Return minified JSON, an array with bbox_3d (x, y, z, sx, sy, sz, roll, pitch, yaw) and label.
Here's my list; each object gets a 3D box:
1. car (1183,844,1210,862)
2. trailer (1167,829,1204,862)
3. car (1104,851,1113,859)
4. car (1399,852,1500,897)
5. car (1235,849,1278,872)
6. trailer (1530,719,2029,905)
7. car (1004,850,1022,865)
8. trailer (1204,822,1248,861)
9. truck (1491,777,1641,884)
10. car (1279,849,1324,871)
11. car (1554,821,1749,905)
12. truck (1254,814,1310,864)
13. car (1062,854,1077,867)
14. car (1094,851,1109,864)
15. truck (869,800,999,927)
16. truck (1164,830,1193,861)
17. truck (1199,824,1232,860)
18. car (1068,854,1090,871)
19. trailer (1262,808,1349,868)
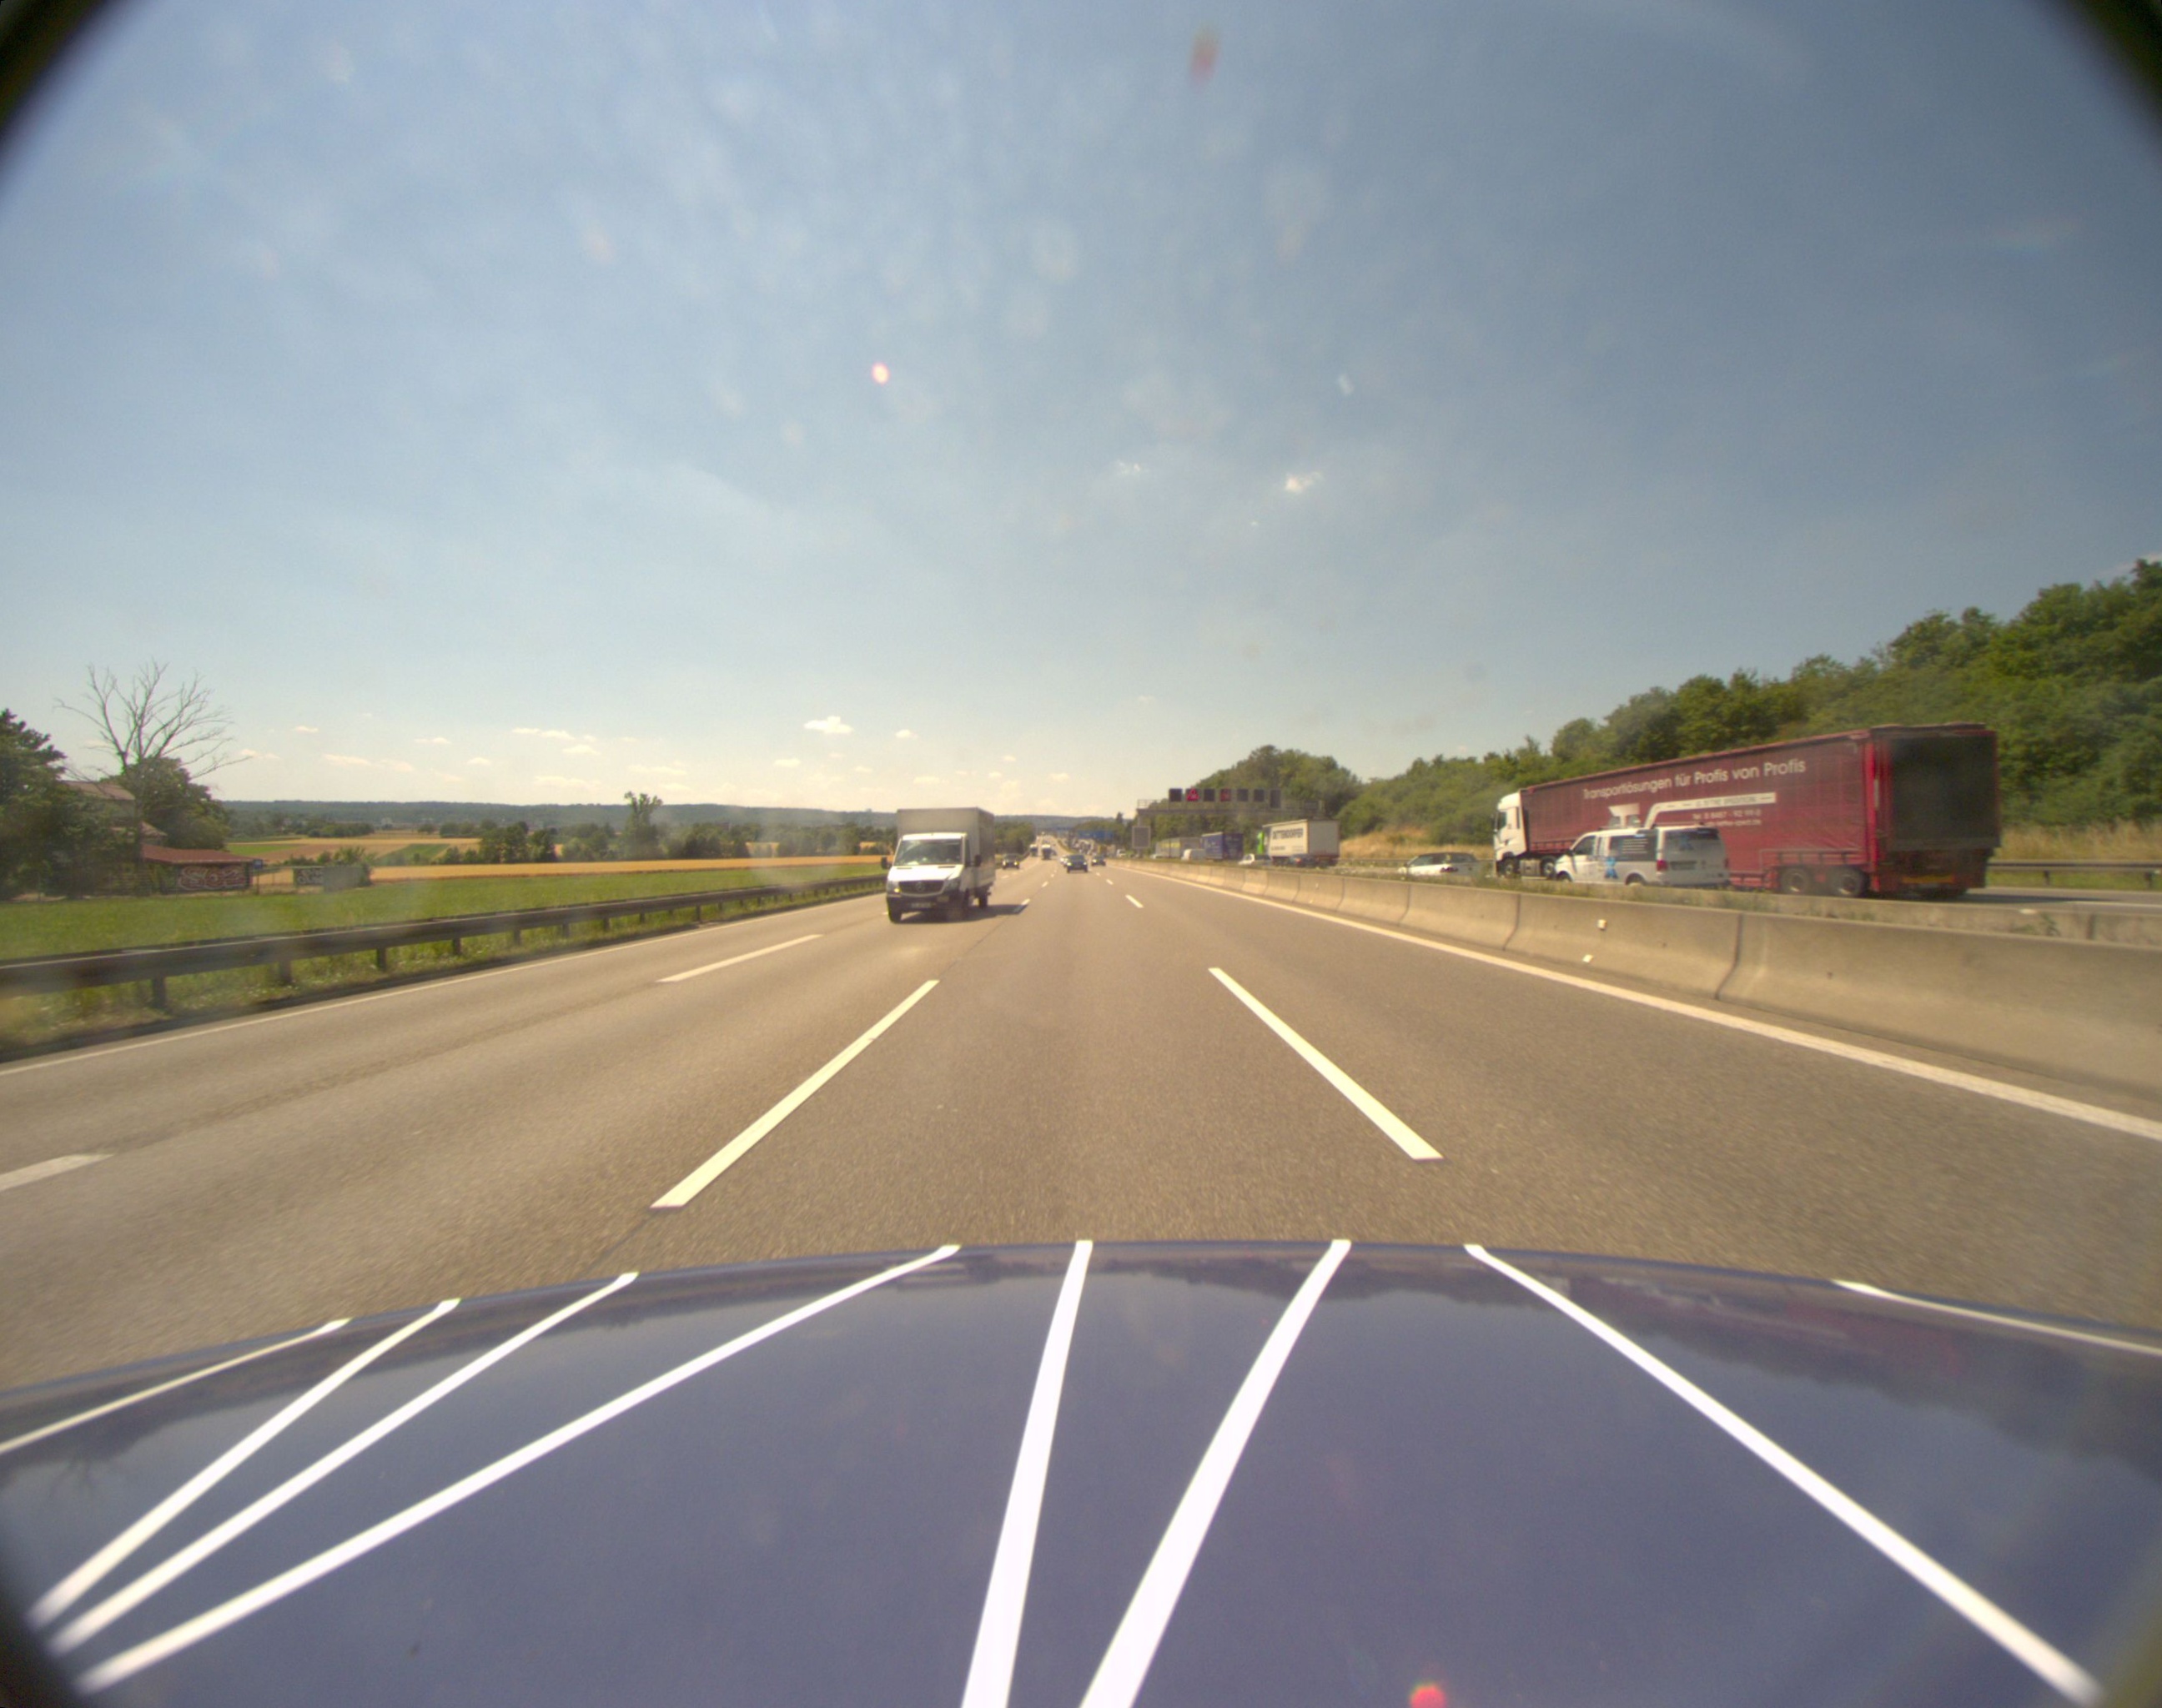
[{"bbox_3d":[11.321,-0.093,74.916,1.911,1.662,3.999,-1,0,-2],"label":"car"},{"bbox_3d":[14.087,-1.205,103.550,3.132,4.143,10.196,-2,1,-2],"label":"trailer"},{"bbox_3d":[7.436,0.284,205.147,1.999,2.002,3.998,-2,1,-3],"label":"car"},{"bbox_3d":[11.942,0.611,24.853,1.616,1.315,3.424,-1,0,0],"label":"car"},{"bbox_3d":[11.660,0.426,50.669,1.766,1.419,3.998,-1,0,-3],"label":"car"},{"bbox_3d":[19.730,-0.978,23.965,2.946,4.086,14.083,-1,0,1],"label":"trailer"},{"bbox_3d":[-8.574,0.451,95.782,1.911,1.778,3.999,-1,1,-2],"label":"car"},{"bbox_3d":[18.547,-1.559,97.985,3.020,4.698,11.024,-2,1,-1],"label":"trailer"},{"bbox_3d":[19.794,-0.919,31.403,2.975,3.986,5.132,-1,1,1],"label":"truck"},{"bbox_3d":[15.063,0.367,52.121,1.766,1.419,3.998,-1,0,-3],"label":"car"},{"bbox_3d":[15.470,0.207,20.991,1.961,2.018,4.545,-1,1,0],"label":"car"},{"bbox_3d":[19.114,-1.371,72.660,3.397,4.419,6.601,-2,1,-1],"label":"truck"},{"bbox_3d":[-1.485,0.776,99.632,1.911,1.615,3.999,-1,0,-1],"label":"car"},{"bbox_3d":[2.694,0.531,101.205,1.807,1.533,4.751,-1,-2,1],"label":"car"},{"bbox_3d":[-3.952,0.223,21.990,2.445,3.010,6.915,-2,0,-1],"label":"truck"},{"bbox_3d":[13.890,-1.256,108.730,3.132,4.143,6.234,-2,1,-2],"label":"truck"},{"bbox_3d":[18.403,-1.601,104.486,3.020,4.698,6.685,-2,1,-2],"label":"truck"},{"bbox_3d":[-0.196,0.772,67.911,1.866,1.426,3.999,-1,0,-2],"label":"car"},{"bbox_3d":[19.134,-1.325,66.083,3.363,4.548,13.646,-2,1,0],"label":"trailer"}]
